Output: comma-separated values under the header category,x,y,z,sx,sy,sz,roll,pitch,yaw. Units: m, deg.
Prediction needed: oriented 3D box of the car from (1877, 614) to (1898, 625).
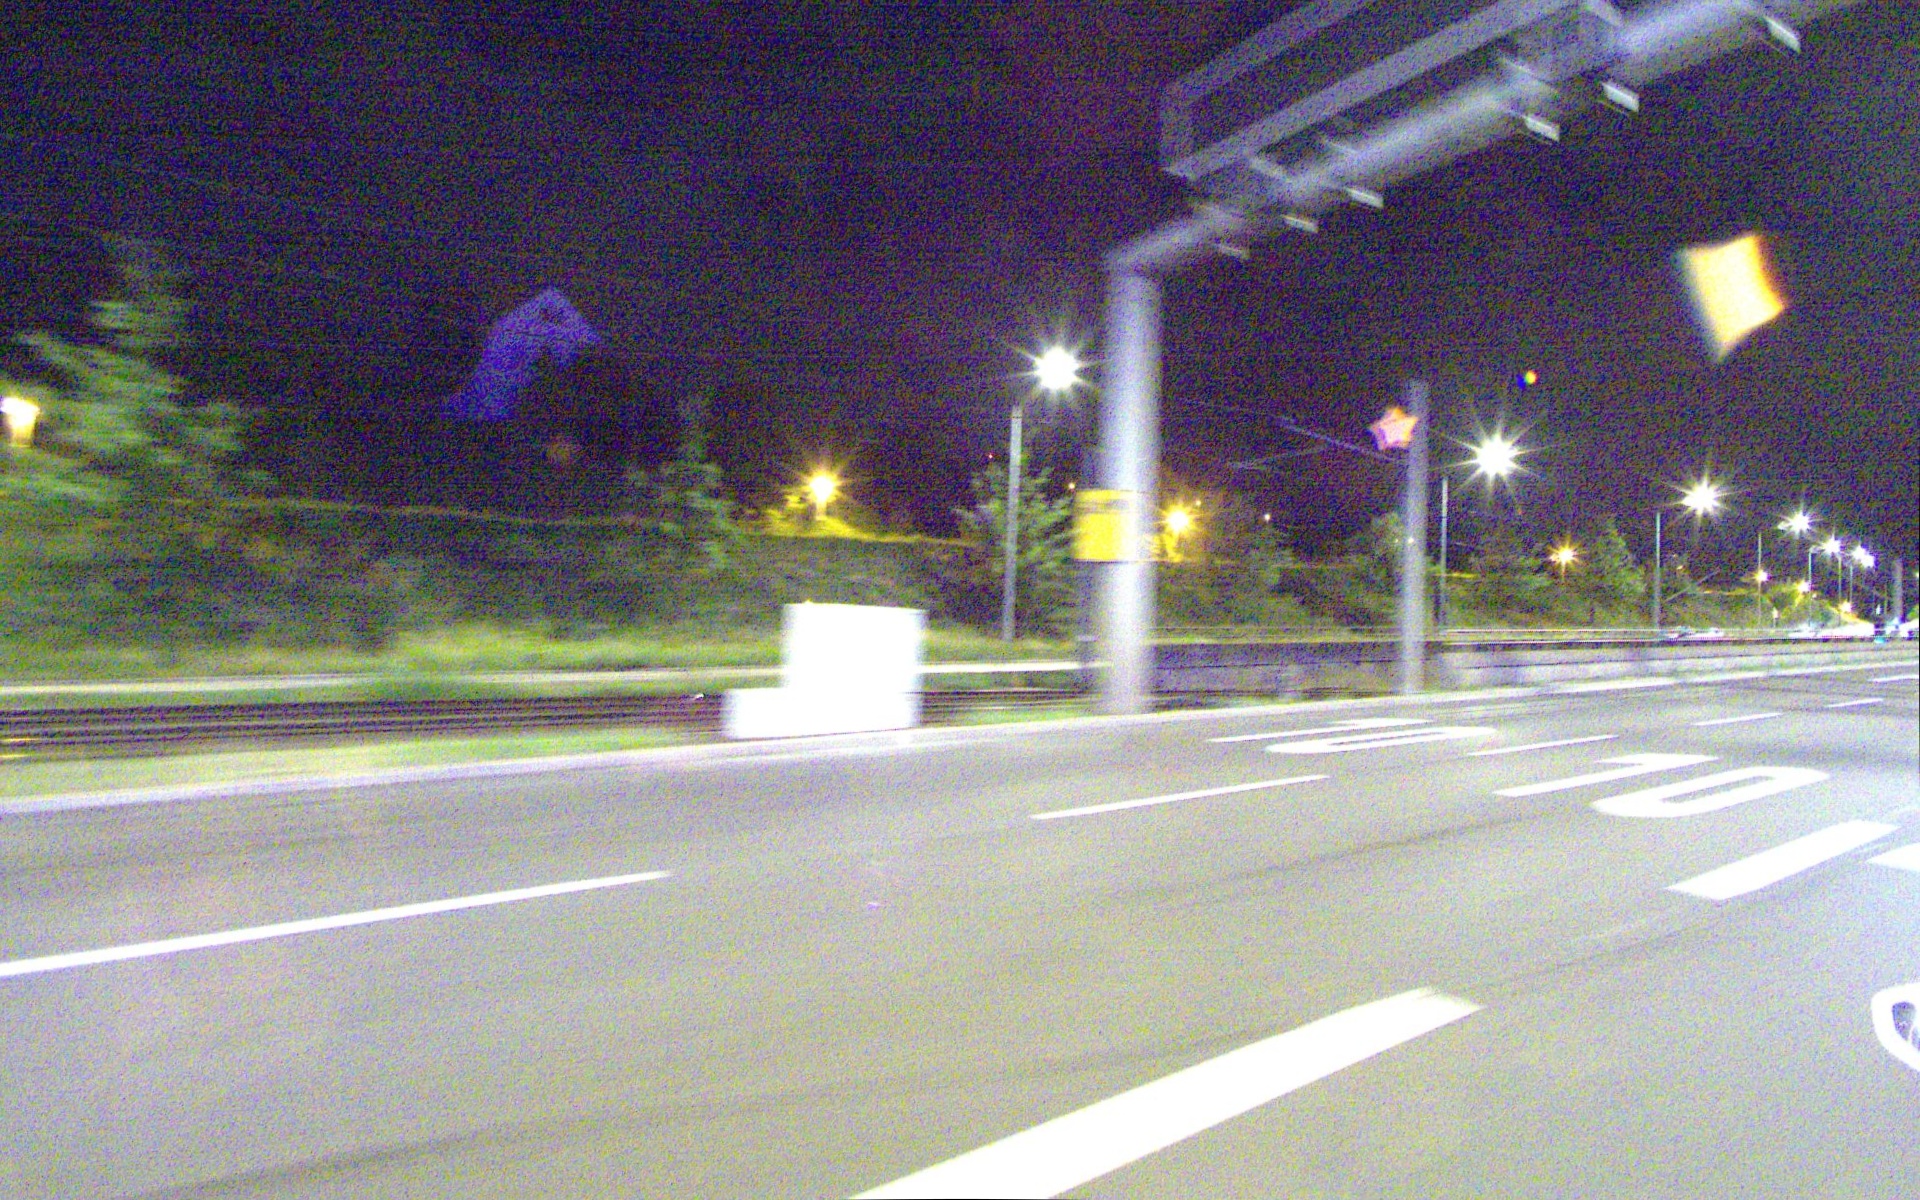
category,x,y,z,sx,sy,sz,roll,pitch,yaw
car,138.876,2.959,150.419,3.643,1.500,1.615,3,-1,-35

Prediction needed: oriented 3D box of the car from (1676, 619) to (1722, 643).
category,x,y,z,sx,sy,sz,roll,pitch,yaw
car,58.048,2.423,78.853,3.964,1.707,1.818,3,-1,-37
